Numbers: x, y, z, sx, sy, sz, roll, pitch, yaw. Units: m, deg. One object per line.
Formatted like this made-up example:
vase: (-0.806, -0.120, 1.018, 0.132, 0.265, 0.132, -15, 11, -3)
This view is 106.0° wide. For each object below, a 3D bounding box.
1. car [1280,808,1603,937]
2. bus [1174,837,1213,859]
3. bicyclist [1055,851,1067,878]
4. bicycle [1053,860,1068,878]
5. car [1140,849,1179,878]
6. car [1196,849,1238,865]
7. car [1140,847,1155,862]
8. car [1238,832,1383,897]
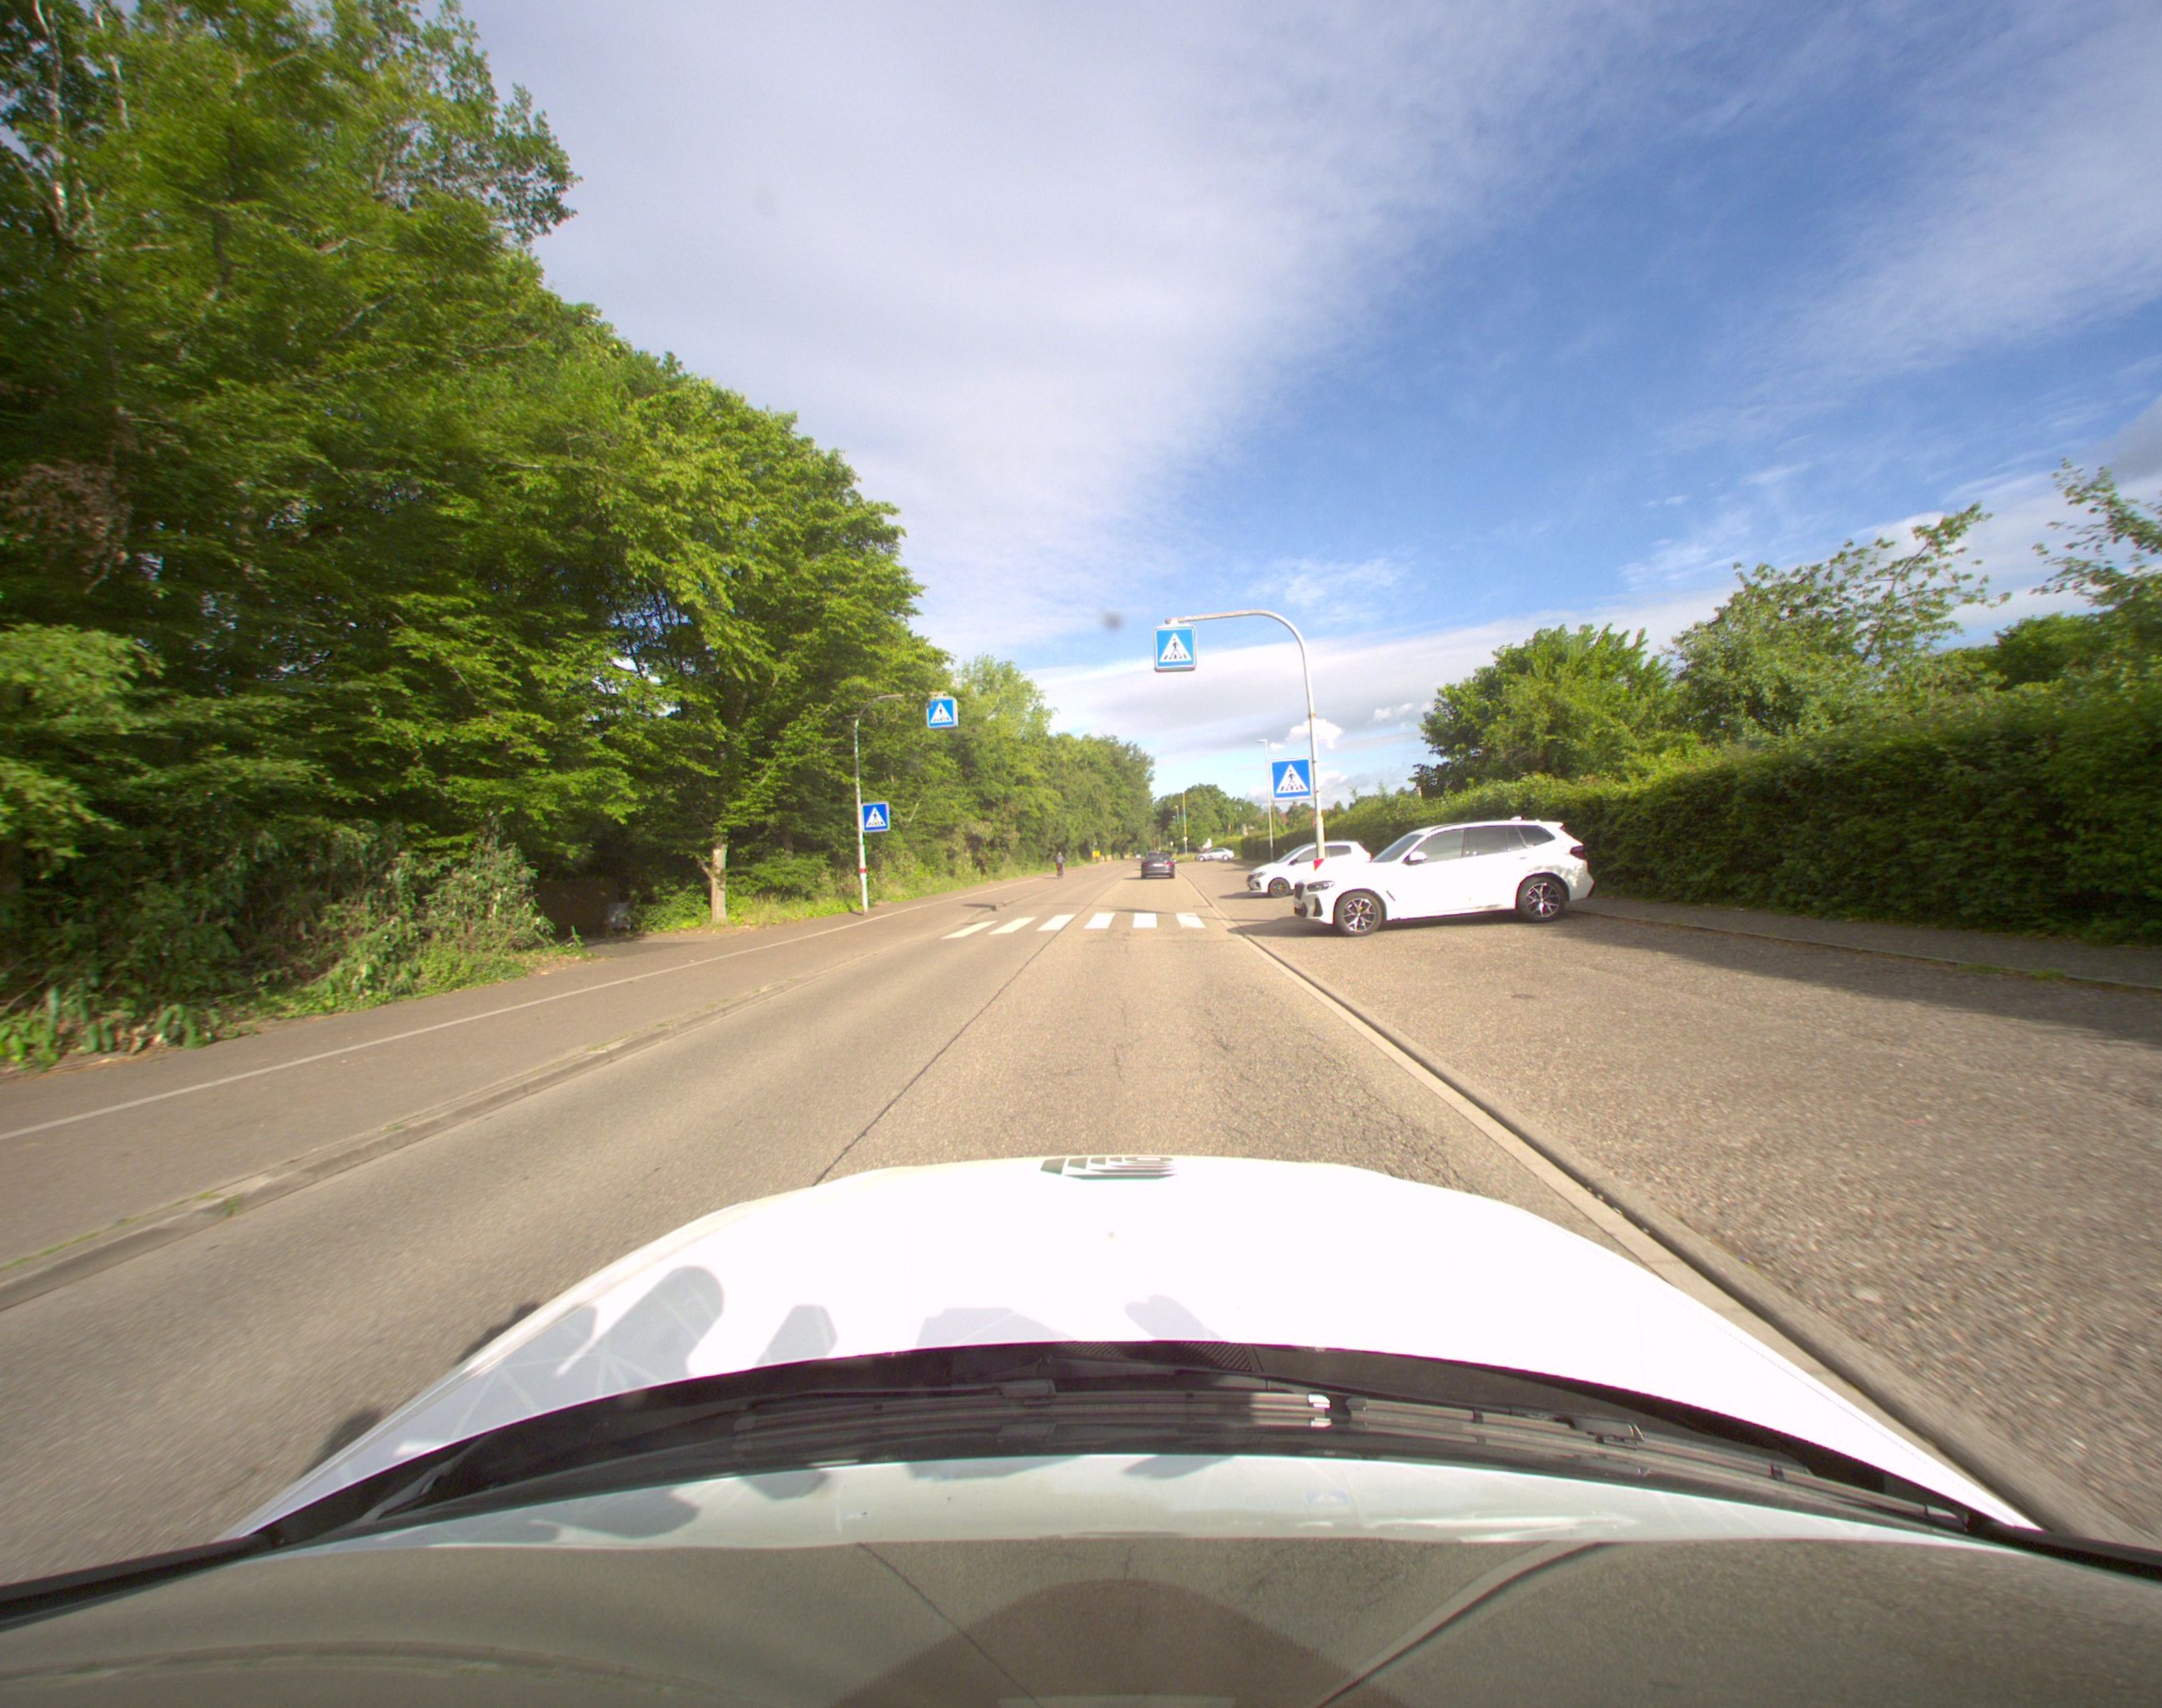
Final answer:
car: (5.858, 0.308, 13.724, 4.565, 1.699, 1.766, -4, 0, 5)
bus: (16.504, -0.848, 119.298, 5.344, 2.746, 2.070, -4, 0, 2)
bicyclist: (-1.308, 0.667, 52.758, 0.605, 1.676, 0.885, -2, 0, 6)
bicycle: (-1.300, 0.944, 52.783, 0.659, 1.097, 2.353, -1, 0, 6)
car: (4.353, 0.490, 44.881, 1.956, 1.434, 4.344, -2, 0, 6)
car: (14.848, 0.288, 89.098, 4.333, 1.443, 1.939, -4, -1, 11)
car: (6.976, 0.048, 85.549, 1.488, 1.366, 3.266, -4, 0, 4)
car: (6.873, 0.300, 24.638, 3.841, 1.490, 1.694, -6, 1, 3)
